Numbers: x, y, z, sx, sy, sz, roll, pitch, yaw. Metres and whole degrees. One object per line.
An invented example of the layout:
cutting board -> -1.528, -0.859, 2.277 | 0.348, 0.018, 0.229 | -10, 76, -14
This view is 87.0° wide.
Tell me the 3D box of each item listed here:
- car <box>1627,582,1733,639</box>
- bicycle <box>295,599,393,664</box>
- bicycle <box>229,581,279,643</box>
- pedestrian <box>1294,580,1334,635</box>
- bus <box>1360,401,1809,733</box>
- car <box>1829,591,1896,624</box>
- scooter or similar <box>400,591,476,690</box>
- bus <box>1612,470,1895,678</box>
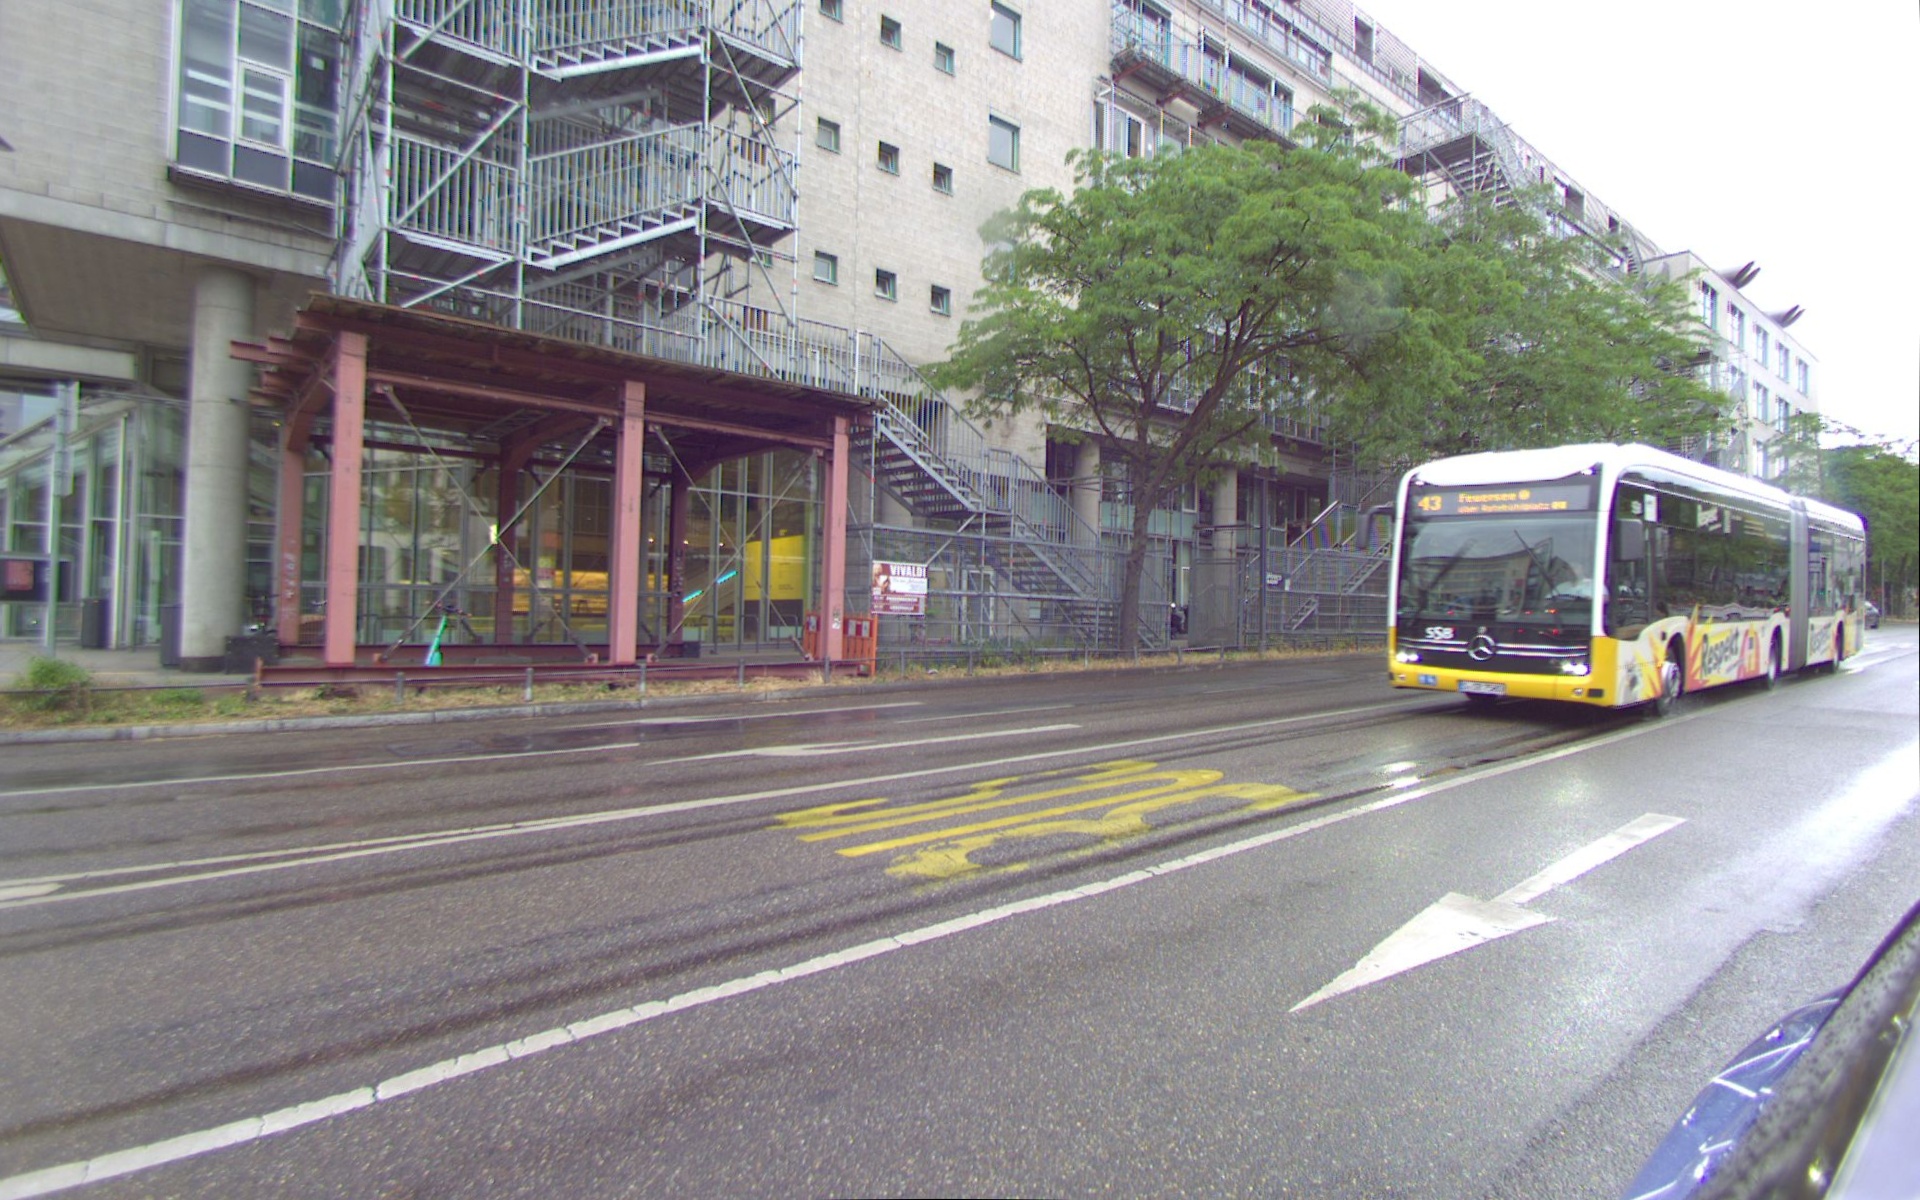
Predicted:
car -> 26.072, 0.337, 36.589 | 4.254, 1.930, 2.211 | -1, 0, -41
bicycle -> -11.982, 0.584, 19.738 | 0.580, 1.209, 1.602 | 0, 0, 24
bicycle -> -14.466, 0.231, 20.721 | 0.577, 1.209, 1.611 | 0, 0, -44
pedestrian -> 12.084, 0.249, 34.549 | 1.007, 1.822, 0.832 | 0, 0, 45
bus -> 9.646, -0.406, 14.895 | 9.586, 3.494, 2.888 | -1, 0, -41
car -> 48.937, 0.356, 54.854 | 4.733, 1.667, 2.145 | -1, 0, -41
scooter or similar -> -6.934, 0.496, 13.414 | 0.576, 1.209, 1.782 | 0, 0, -38
bus -> 16.876, -0.496, 21.160 | 9.541, 3.483, 2.888 | -1, 0, -41
